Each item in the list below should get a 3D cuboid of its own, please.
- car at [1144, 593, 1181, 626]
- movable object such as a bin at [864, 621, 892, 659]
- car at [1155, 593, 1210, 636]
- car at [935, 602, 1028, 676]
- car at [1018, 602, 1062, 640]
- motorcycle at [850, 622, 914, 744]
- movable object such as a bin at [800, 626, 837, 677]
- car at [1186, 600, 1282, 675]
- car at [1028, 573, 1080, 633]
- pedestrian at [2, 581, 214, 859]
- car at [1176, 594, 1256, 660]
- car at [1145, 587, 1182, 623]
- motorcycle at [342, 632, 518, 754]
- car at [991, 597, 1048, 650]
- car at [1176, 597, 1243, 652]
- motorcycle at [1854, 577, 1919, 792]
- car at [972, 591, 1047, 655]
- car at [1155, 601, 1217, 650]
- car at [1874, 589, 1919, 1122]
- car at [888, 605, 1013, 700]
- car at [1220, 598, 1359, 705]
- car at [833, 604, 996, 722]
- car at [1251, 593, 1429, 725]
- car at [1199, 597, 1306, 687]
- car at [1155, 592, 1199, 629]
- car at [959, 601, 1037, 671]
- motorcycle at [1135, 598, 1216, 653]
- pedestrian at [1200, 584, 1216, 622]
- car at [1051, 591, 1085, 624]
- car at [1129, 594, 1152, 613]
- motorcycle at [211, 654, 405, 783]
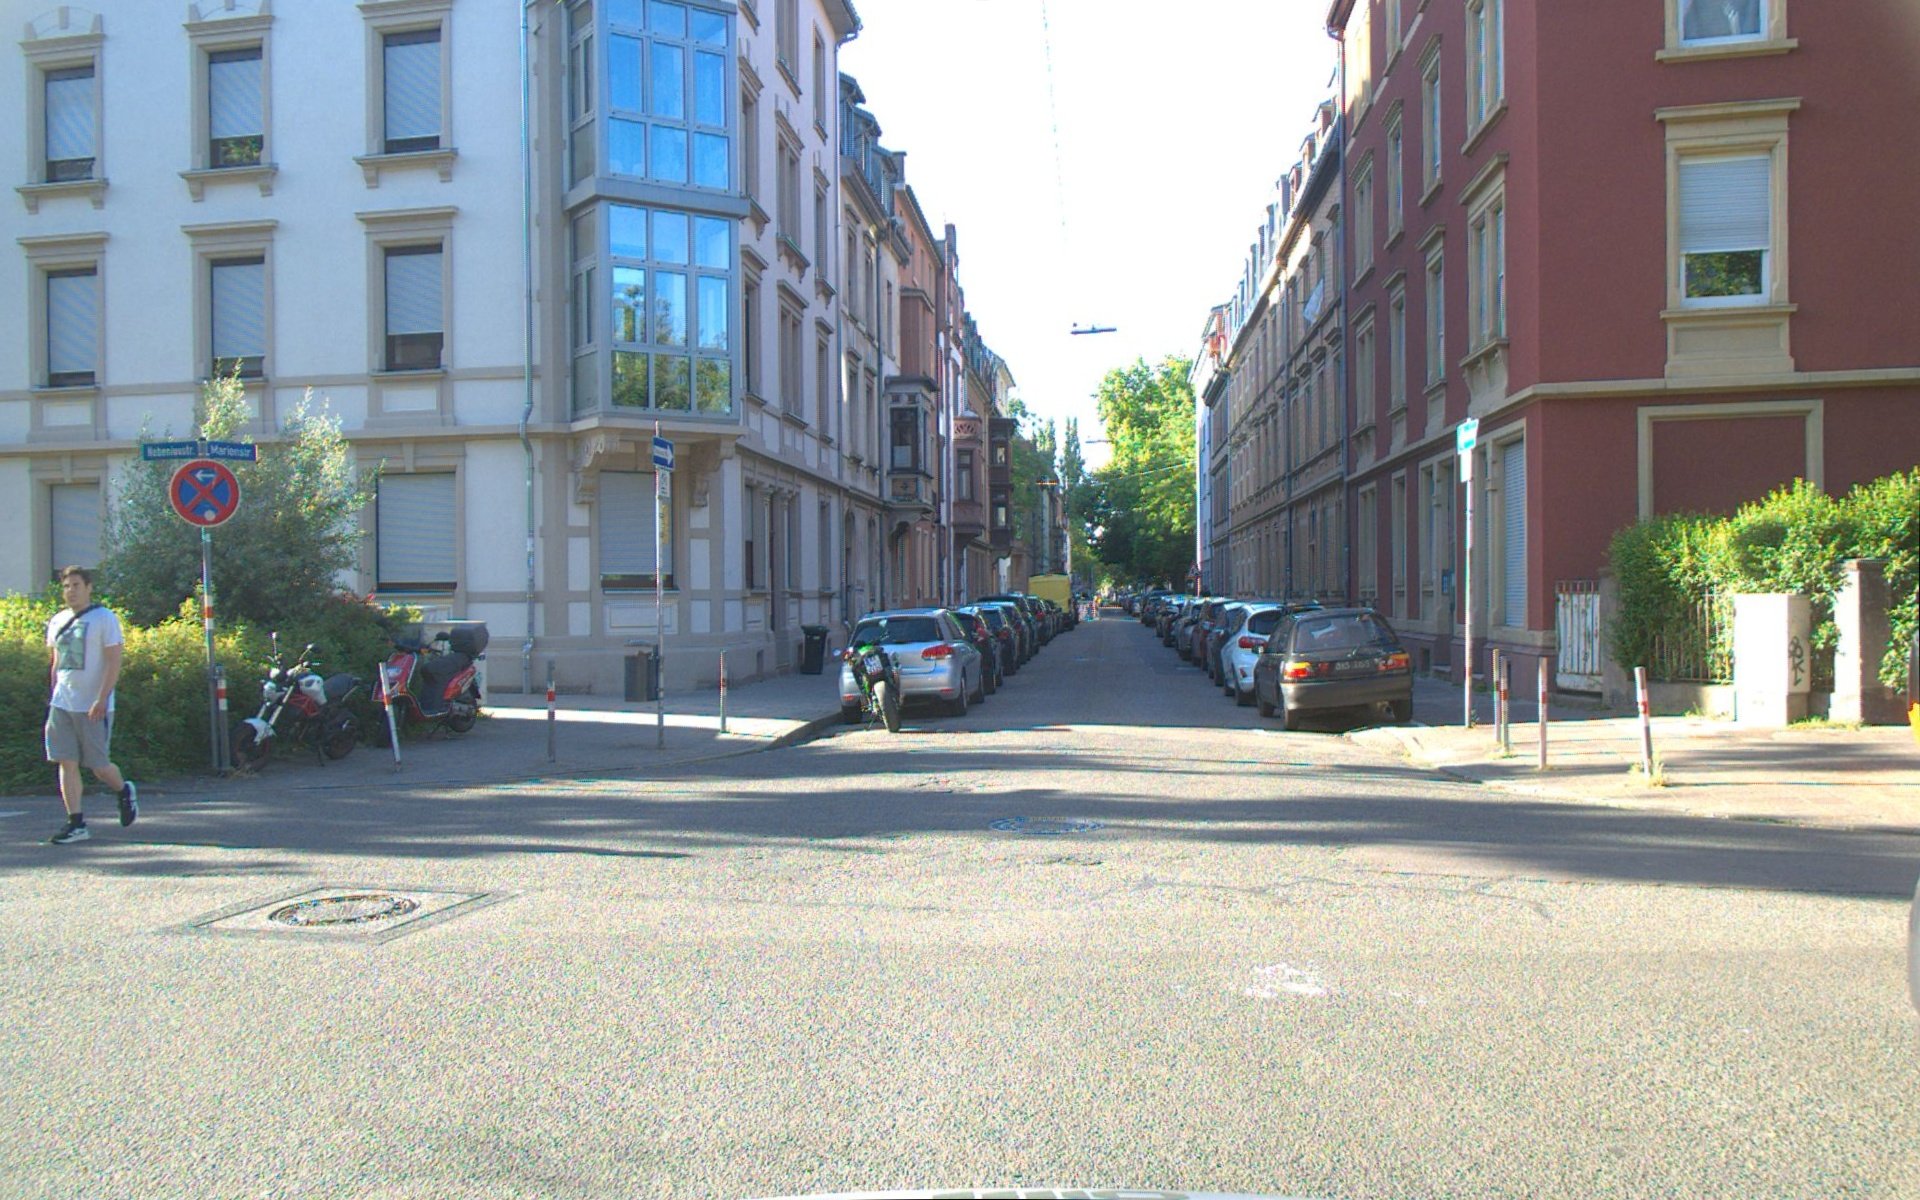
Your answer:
[{"bbox_3d":[10.325,0.477,84.271,1.717,1.478,4.291,-5,0,7],"label":"car"},{"bbox_3d":[-2.045,0.992,41.351,0.599,0.936,0.734,-1,0,5],"label":"movable object such as a bin"},{"bbox_3d":[8.415,0.545,62.840,1.717,1.471,4.071,-4,0,4],"label":"car"},{"bbox_3d":[0.503,0.787,35.058,1.743,1.428,3.744,-1,0,4],"label":"car"},{"bbox_3d":[3.185,0.795,65.438,1.584,1.349,3.614,-4,0,4],"label":"car"},{"bbox_3d":[-0.948,0.993,20.500,0.663,1.357,2.000,-3,0,-1],"label":"motorcycle"},{"bbox_3d":[-2.740,0.996,32.028,0.608,0.972,0.511,1,0,5],"label":"movable object such as a bin"},{"bbox_3d":[5.962,0.777,36.301,1.624,1.505,4.026,-1,0,3],"label":"car"},{"bbox_3d":[4.411,0.134,76.780,2.129,2.551,5.882,-3,0,5],"label":"car"},{"bbox_3d":[-5.707,0.768,11.127,0.785,1.776,1.007,-1,0,12],"label":"pedestrian"},{"bbox_3d":[6.333,0.633,41.309,1.725,1.510,4.404,-1,0,6],"label":"car"},{"bbox_3d":[11.005,0.240,89.672,1.717,1.817,4.726,-3,0,5],"label":"car"},{"bbox_3d":[-5.681,0.963,17.874,0.599,1.217,2.043,-1,-1,24],"label":"motorcycle"},{"bbox_3d":[1.991,0.741,54.689,1.743,1.634,4.071,-1,0,4],"label":"car"},{"bbox_3d":[6.955,0.652,46.342,1.656,1.430,3.995,-1,0,6],"label":"car"},{"bbox_3d":[7.515,0.621,12.293,0.853,1.551,2.625,-1,1,13],"label":"motorcycle"},{"bbox_3d":[1.403,0.590,45.072,1.724,1.645,4.192,-1,0,6],"label":"car"},{"bbox_3d":[7.075,0.761,52.079,1.740,1.421,4.320,-1,1,6],"label":"car"},{"bbox_3d":[4.502,0.701,5.226,3.497,1.509,1.617,-1,0,-38],"label":"car"},{"bbox_3d":[-0.096,0.859,28.674,1.743,1.509,3.745,-1,0,6],"label":"car"},{"bbox_3d":[4.981,0.732,25.470,1.669,1.488,3.973,-1,0,5],"label":"car"},{"bbox_3d":[-0.563,0.844,23.813,1.743,1.509,3.935,-1,0,7],"label":"car"},{"bbox_3d":[4.711,0.677,20.952,1.633,1.509,3.708,-1,0,4],"label":"car"},{"bbox_3d":[5.401,0.732,30.905,1.641,1.529,4.072,-1,0,6],"label":"car"},{"bbox_3d":[10.245,0.454,78.361,1.717,1.544,4.446,-5,0,4],"label":"car"},{"bbox_3d":[0.960,0.834,39.902,1.608,1.481,3.841,-3,0,4],"label":"car"},{"bbox_3d":[6.356,0.744,48.812,2.187,1.563,0.885,1,0,-21],"label":"motorcycle"},{"bbox_3d":[11.198,0.134,74.623,0.639,1.659,0.881,-3,-1,9],"label":"pedestrian"},{"bbox_3d":[5.939,0.400,91.465,1.780,1.797,4.337,-1,0,2],"label":"car"},{"bbox_3d":[15.783,0.338,144.890,1.854,1.654,4.002,-1,0,4],"label":"car"},{"bbox_3d":[-6.126,1.082,15.651,0.626,1.109,1.870,-1,-1,20],"label":"motorcycle"}]
